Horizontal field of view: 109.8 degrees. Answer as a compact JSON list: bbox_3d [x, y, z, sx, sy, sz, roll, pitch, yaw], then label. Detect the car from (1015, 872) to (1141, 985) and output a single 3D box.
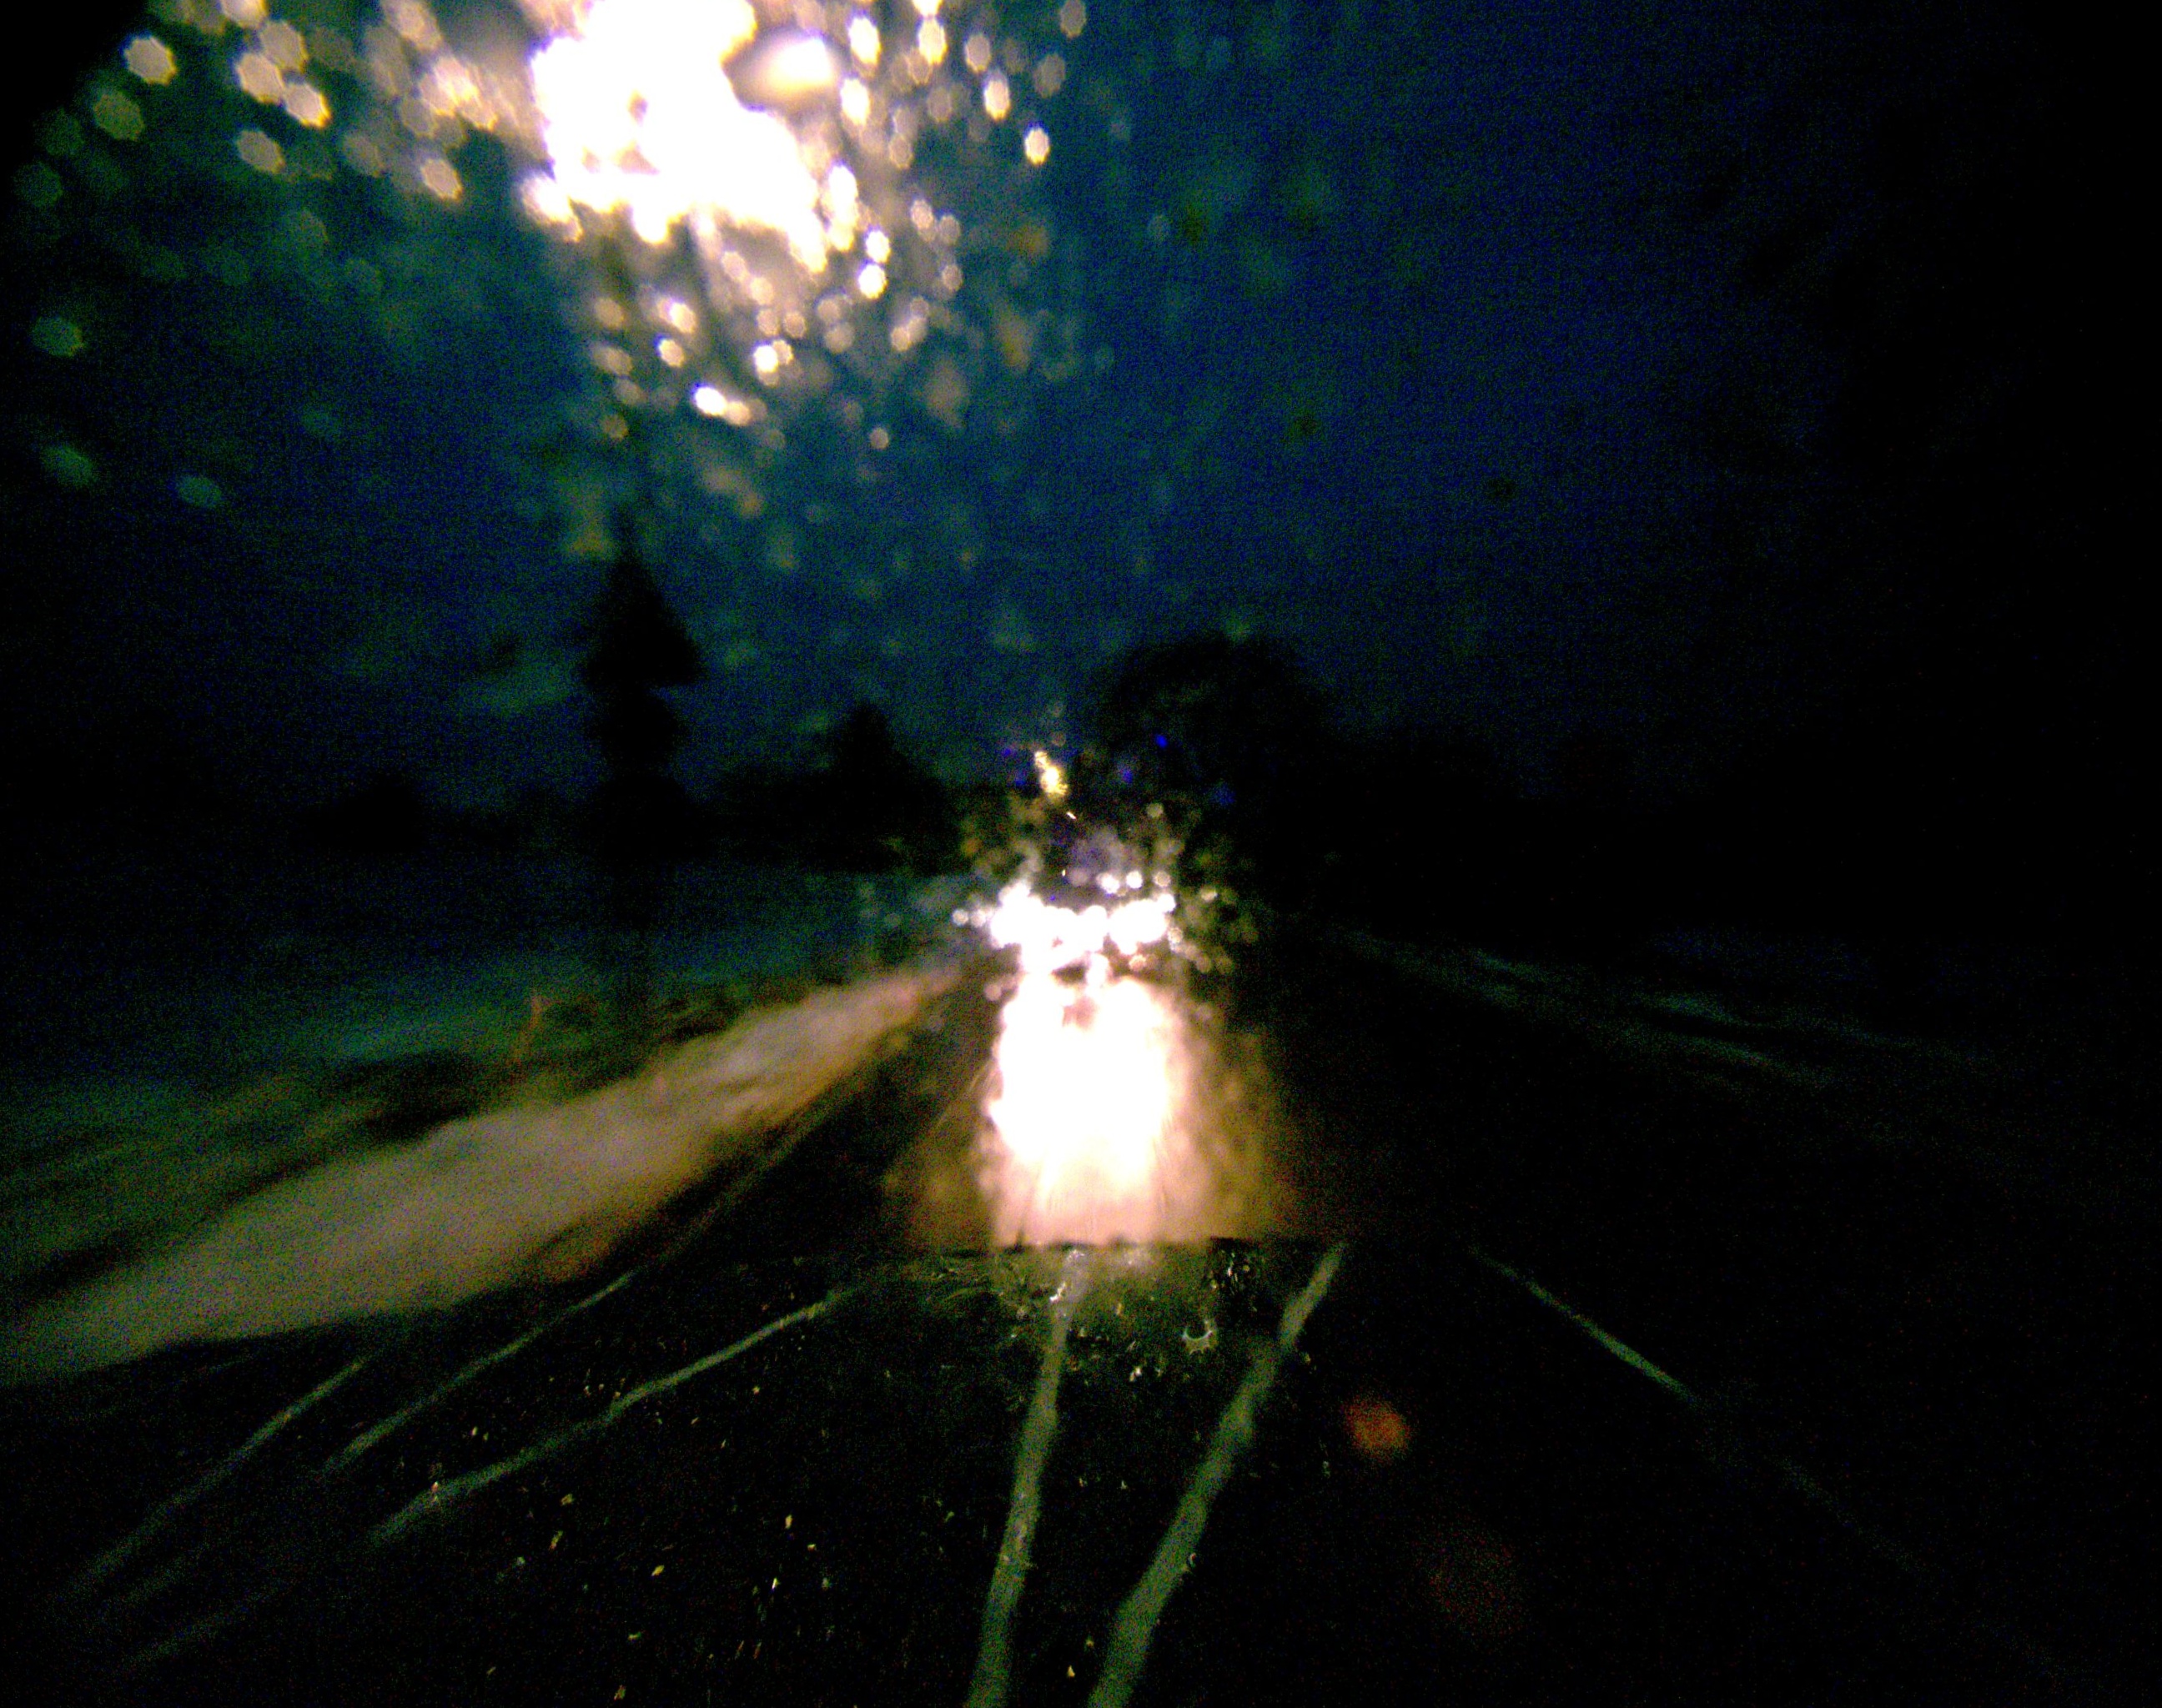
[{"bbox_3d":[0.021,1.052,12.119,1.649,1.446,3.681,-2,-1,2],"label":"car"}]
